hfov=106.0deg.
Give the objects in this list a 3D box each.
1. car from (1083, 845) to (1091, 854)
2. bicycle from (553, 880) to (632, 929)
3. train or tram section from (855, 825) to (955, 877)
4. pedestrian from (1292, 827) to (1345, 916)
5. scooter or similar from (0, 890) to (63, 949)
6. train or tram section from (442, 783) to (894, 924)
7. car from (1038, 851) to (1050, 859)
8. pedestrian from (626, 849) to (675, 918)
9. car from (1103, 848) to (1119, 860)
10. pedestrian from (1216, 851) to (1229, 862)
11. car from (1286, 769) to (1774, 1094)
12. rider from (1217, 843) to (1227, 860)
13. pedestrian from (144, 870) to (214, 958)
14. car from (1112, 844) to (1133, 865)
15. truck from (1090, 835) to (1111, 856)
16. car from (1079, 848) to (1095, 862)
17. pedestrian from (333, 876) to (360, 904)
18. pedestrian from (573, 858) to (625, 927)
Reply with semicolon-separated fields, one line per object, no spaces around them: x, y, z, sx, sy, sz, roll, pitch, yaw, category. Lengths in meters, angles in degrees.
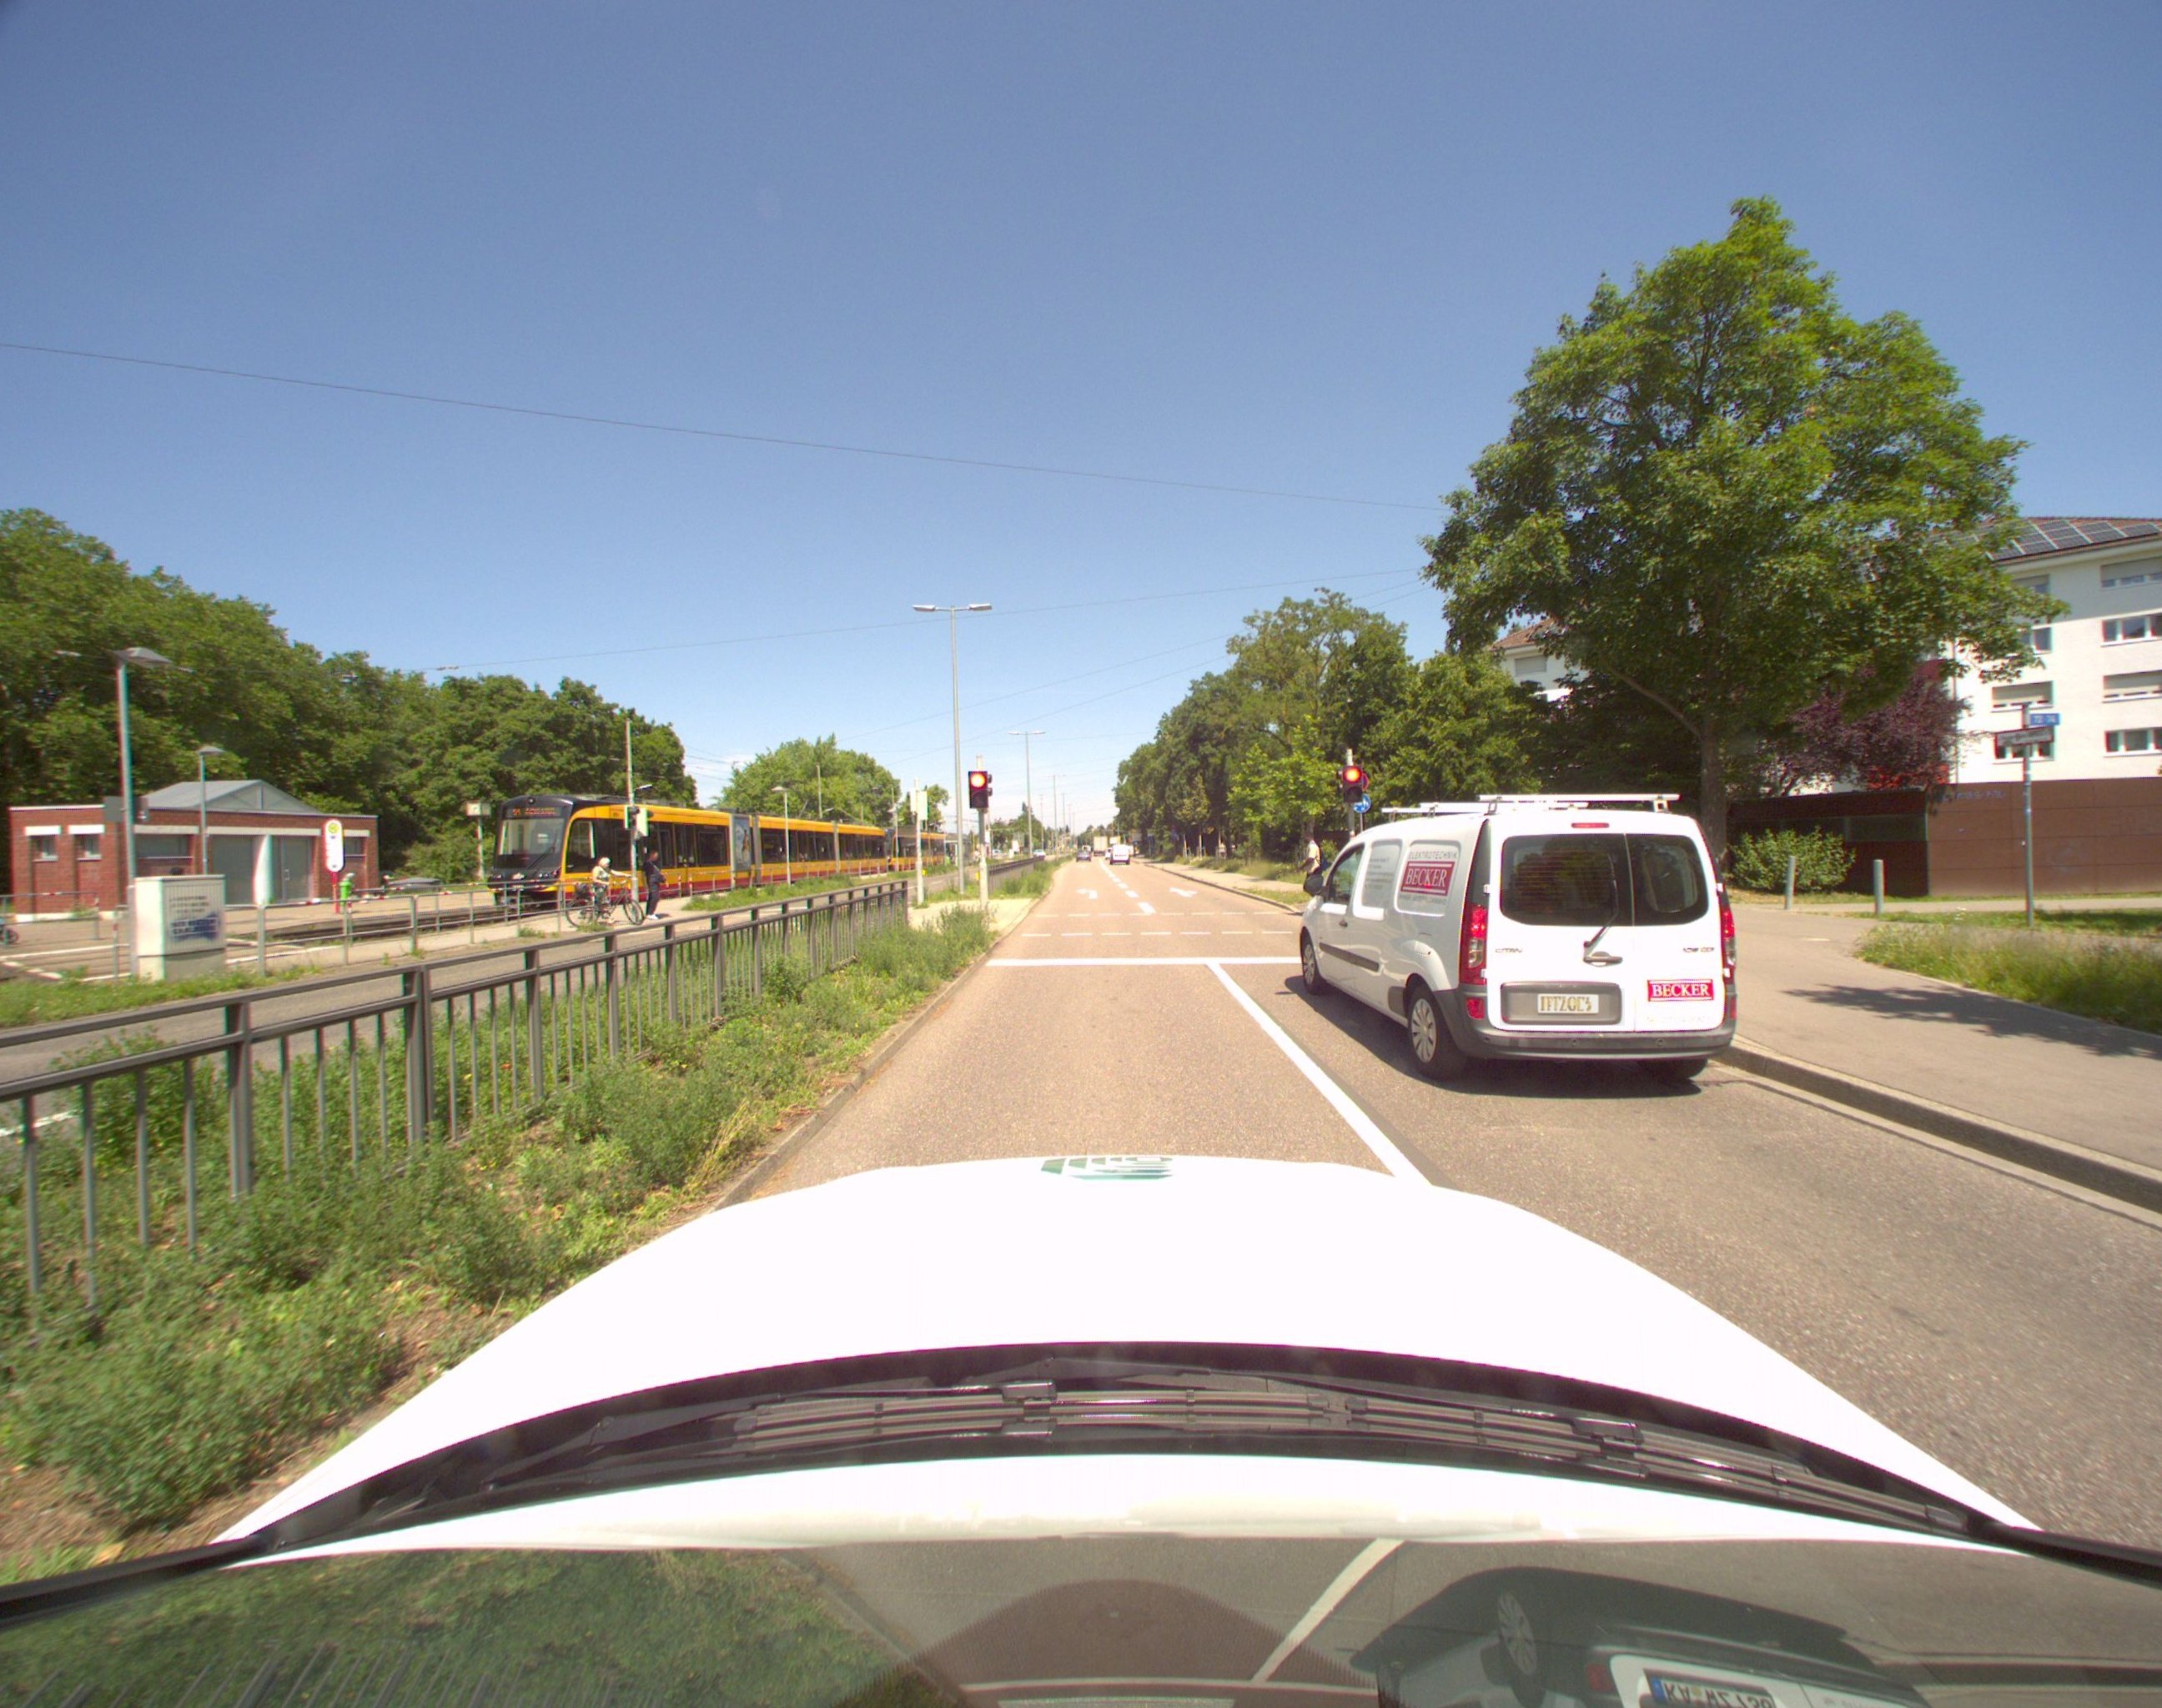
1.329;-0.974;172.704;1.682;1.897;3.870;-2;0;0;car
-11.956;1.233;19.938;1.854;1.157;0.243;-1;0;5;bicycle
-14.771;-0.301;72.066;2.778;3.668;26.001;-1;0;1;train or tram section
5.039;0.361;17.347;1.038;1.850;0.760;-1;0;15;pedestrian
-21.859;1.340;16.361;0.605;1.127;1.683;-1;0;45;scooter or similar
-15.220;-0.127;40.303;2.778;3.668;37.521;-1;0;1;train or tram section
-7.293;0.203;161.595;1.987;1.650;4.000;-2;0;0;car
-11.481;0.771;21.730;0.949;1.796;0.710;-1;0;29;pedestrian
3.832;0.003;105.021;1.797;1.540;3.999;-1;0;0;car
10.997;0.187;63.324;0.675;0.847;1.774;-1;0;0;pedestrian
3.170;0.436;6.965;1.817;1.881;4.457;-1;0;1;car
10.987;-0.191;63.293;0.676;1.281;0.533;-1;0;0;rider
-16.439;1.078;14.852;0.859;1.541;0.541;-1;0;20;pedestrian
3.820;0.046;74.357;1.719;1.813;4.007;0;1;6;car
3.693;-1.553;156.656;3.886;3.812;10.793;-2;0;0;truck
0.676;0.077;91.823;1.795;1.486;4.001;-2;0;1;car
-27.317;1.335;30.297;0.479;1.018;0.522;-2;0;2;pedestrian
-11.805;0.934;19.961;0.815;1.628;0.706;-1;0;6;pedestrian
